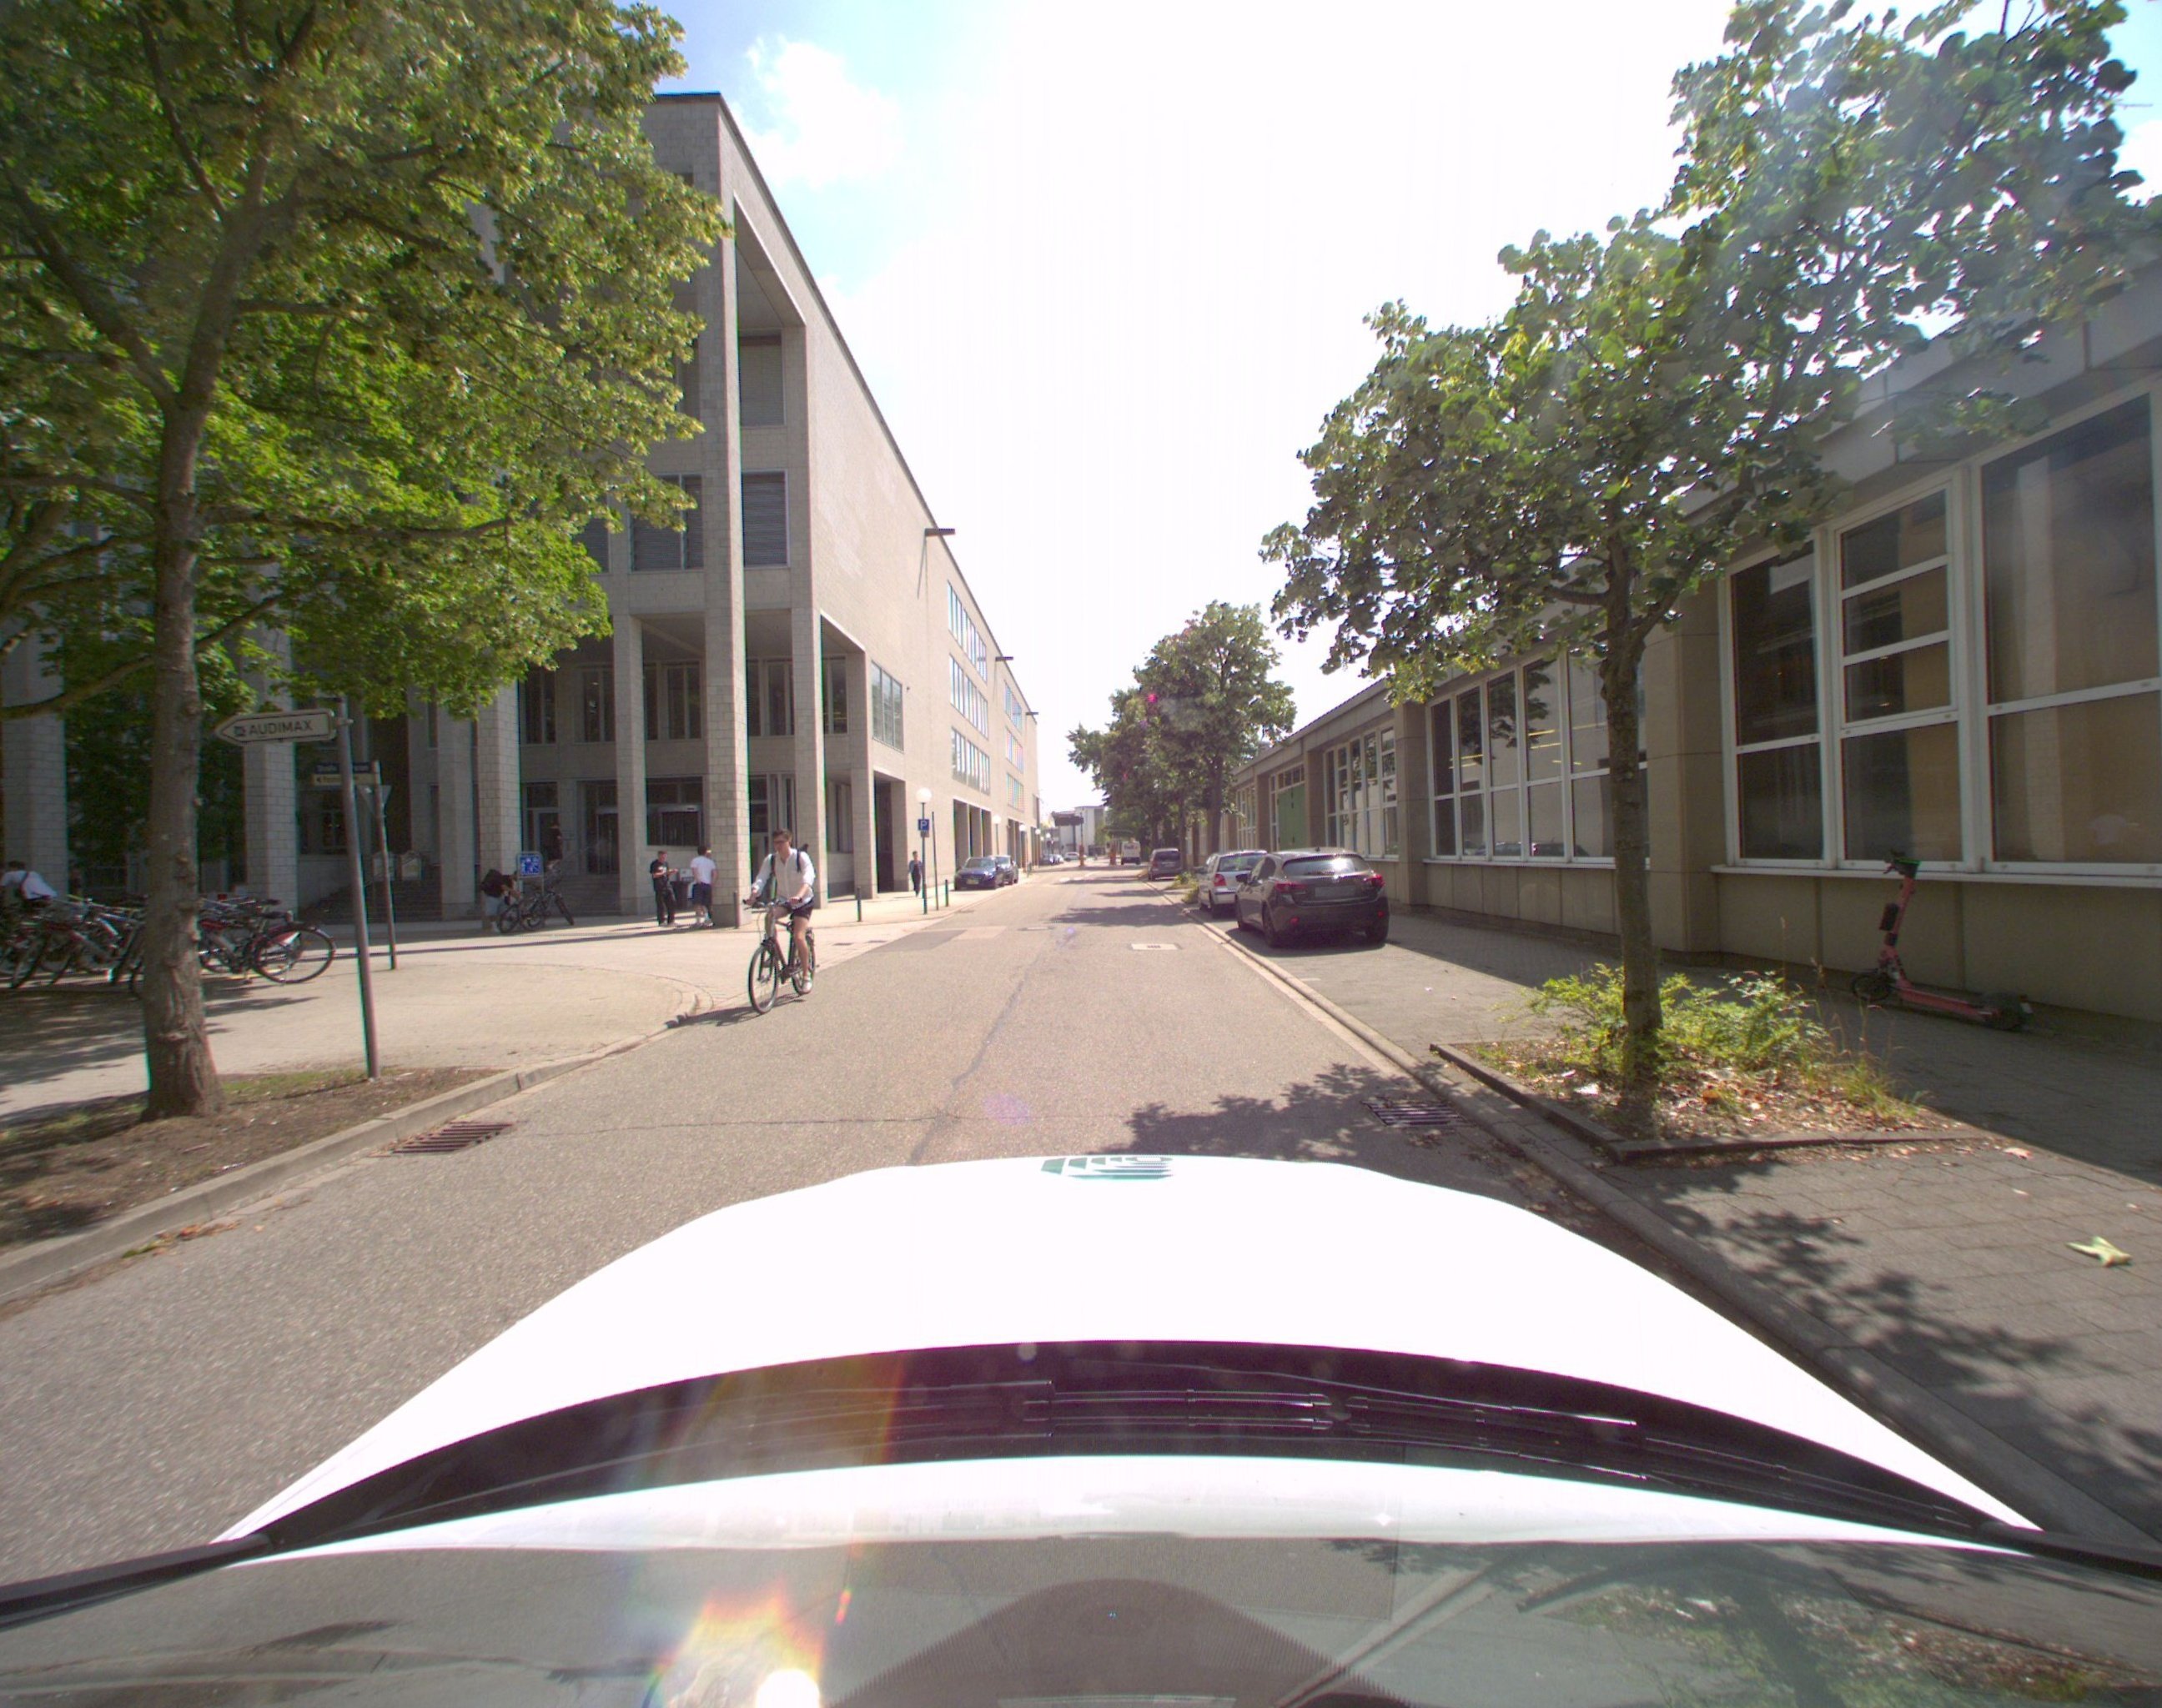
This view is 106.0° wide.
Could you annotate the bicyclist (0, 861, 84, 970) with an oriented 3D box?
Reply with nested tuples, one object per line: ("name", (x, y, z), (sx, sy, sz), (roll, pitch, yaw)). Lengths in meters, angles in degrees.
("bicyclist", (-20.024, 1.150, 15.575), (0.841, 2.013, 0.879), (-2, 0, 12))

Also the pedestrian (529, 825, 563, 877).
("pedestrian", (-17.535, -0.088, 26.709), (0.631, 1.661, 0.693), (-1, 0, -3))

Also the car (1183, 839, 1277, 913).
("car", (3.413, 0.464, 19.292), (1.610, 1.538, 3.781), (-2, 0, 2))

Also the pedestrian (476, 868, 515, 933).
("pedestrian", (-12.994, 1.023, 18.083), (0.466, 1.383, 0.443), (-3, 3, -8))

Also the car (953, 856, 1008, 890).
("car", (-4.524, 0.825, 37.277), (1.759, 1.427, 4.238), (-2, 0, 3))

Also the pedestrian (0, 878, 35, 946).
("pedestrian", (-26.215, 1.413, 19.780), (0.824, 1.593, 0.598), (-2, 0, 3))

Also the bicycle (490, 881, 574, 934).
("bicycle", (-12.438, 1.193, 18.526), (0.462, 1.014, 1.868), (0, 2, 5))

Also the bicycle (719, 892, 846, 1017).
("bicycle", (-3.265, 1.052, 9.107), (0.683, 1.129, 1.888), (-2, 0, 0))

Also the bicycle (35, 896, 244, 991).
("bicycle", (-12.861, 1.180, 11.238), (0.550, 1.086, 1.974), (0, 0, 2))

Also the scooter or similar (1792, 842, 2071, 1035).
("scooter or similar", (6.245, 0.554, 6.102), (0.509, 1.249, 1.486), (-3, 0, 2))

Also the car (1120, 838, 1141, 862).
("car", (5.381, -0.417, 89.140), (2.076, 2.539, 4.317), (-1, 0, 1))

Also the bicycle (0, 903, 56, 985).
("bicycle", (-15.187, 1.260, 10.840), (0.550, 1.086, 1.974), (0, 0, 2))

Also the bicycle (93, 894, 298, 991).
("bicycle", (-11.761, 1.126, 10.924), (0.550, 1.086, 1.974), (0, 0, 2))

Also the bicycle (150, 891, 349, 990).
("bicycle", (-10.820, 1.083, 10.717), (0.550, 1.086, 1.974), (0, 0, 2))

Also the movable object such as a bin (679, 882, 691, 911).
("movable object such as a bin", (-12.630, 1.347, 26.002), (0.168, 0.895, 0.448), (-2, 0, -4))

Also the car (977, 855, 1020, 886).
("car", (-4.235, 0.821, 42.525), (1.624, 1.485, 4.180), (-2, 0, 2))

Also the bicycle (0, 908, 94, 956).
("bicycle", (-24.795, 1.839, 19.215), (0.523, 0.946, 1.994), (-2, 0, 1))

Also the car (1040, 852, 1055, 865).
("car", (-4.183, 0.605, 102.641), (1.640, 1.498, 3.729), (-2, -2, 1))

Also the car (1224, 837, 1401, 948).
("car", (3.675, 0.539, 13.797), (1.774, 1.476, 4.463), (-3, 0, 1))

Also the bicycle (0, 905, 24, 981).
("bicycle", (-15.833, 1.290, 10.976), (0.550, 1.086, 1.974), (0, 0, 2))

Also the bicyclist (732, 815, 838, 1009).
("bicyclist", (-3.286, 0.615, 9.129), (0.709, 2.013, 1.018), (-3, 0, -1))

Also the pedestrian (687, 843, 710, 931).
("pedestrian", (-8.595, 0.721, 18.294), (0.415, 1.941, 0.657), (-1, 0, -28))

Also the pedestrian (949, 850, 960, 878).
("pedestrian", (-8.450, 0.694, 54.473), (0.509, 1.841, 0.735), (-2, -2, 1))

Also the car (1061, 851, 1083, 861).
("car", (-1.735, 0.428, 155.142), (3.970, 1.904, 1.798), (-1, 0, 2))

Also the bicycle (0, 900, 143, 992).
("bicycle", (-14.015, 1.216, 10.916), (0.550, 1.086, 1.974), (0, 0, 2))

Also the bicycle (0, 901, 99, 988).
("bicycle", (-14.580, 1.236, 10.858), (0.550, 1.086, 1.974), (0, 0, 2))

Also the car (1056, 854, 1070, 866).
("car", (-2.526, 0.899, 114.523), (1.640, 1.498, 3.729), (-2, -2, 1))

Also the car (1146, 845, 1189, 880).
("car", (4.370, 0.417, 41.650), (1.851, 1.574, 4.002), (-3, 0, 2))

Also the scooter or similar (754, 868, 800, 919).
("scooter or similar", (-7.794, 0.990, 20.959), (0.452, 1.223, 1.551), (-2, 0, 5))

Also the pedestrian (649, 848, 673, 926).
("pedestrian", (-9.795, 0.765, 18.988), (0.443, 1.775, 0.447), (-1, 0, -29))

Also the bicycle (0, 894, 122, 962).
("bicycle", (-19.949, 1.402, 15.570), (2.722, 1.199, 0.888), (-2, 0, 12))

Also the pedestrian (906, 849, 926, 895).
("pedestrian", (-6.236, 0.666, 30.864), (0.649, 1.701, 0.886), (-2, 0, -9))
